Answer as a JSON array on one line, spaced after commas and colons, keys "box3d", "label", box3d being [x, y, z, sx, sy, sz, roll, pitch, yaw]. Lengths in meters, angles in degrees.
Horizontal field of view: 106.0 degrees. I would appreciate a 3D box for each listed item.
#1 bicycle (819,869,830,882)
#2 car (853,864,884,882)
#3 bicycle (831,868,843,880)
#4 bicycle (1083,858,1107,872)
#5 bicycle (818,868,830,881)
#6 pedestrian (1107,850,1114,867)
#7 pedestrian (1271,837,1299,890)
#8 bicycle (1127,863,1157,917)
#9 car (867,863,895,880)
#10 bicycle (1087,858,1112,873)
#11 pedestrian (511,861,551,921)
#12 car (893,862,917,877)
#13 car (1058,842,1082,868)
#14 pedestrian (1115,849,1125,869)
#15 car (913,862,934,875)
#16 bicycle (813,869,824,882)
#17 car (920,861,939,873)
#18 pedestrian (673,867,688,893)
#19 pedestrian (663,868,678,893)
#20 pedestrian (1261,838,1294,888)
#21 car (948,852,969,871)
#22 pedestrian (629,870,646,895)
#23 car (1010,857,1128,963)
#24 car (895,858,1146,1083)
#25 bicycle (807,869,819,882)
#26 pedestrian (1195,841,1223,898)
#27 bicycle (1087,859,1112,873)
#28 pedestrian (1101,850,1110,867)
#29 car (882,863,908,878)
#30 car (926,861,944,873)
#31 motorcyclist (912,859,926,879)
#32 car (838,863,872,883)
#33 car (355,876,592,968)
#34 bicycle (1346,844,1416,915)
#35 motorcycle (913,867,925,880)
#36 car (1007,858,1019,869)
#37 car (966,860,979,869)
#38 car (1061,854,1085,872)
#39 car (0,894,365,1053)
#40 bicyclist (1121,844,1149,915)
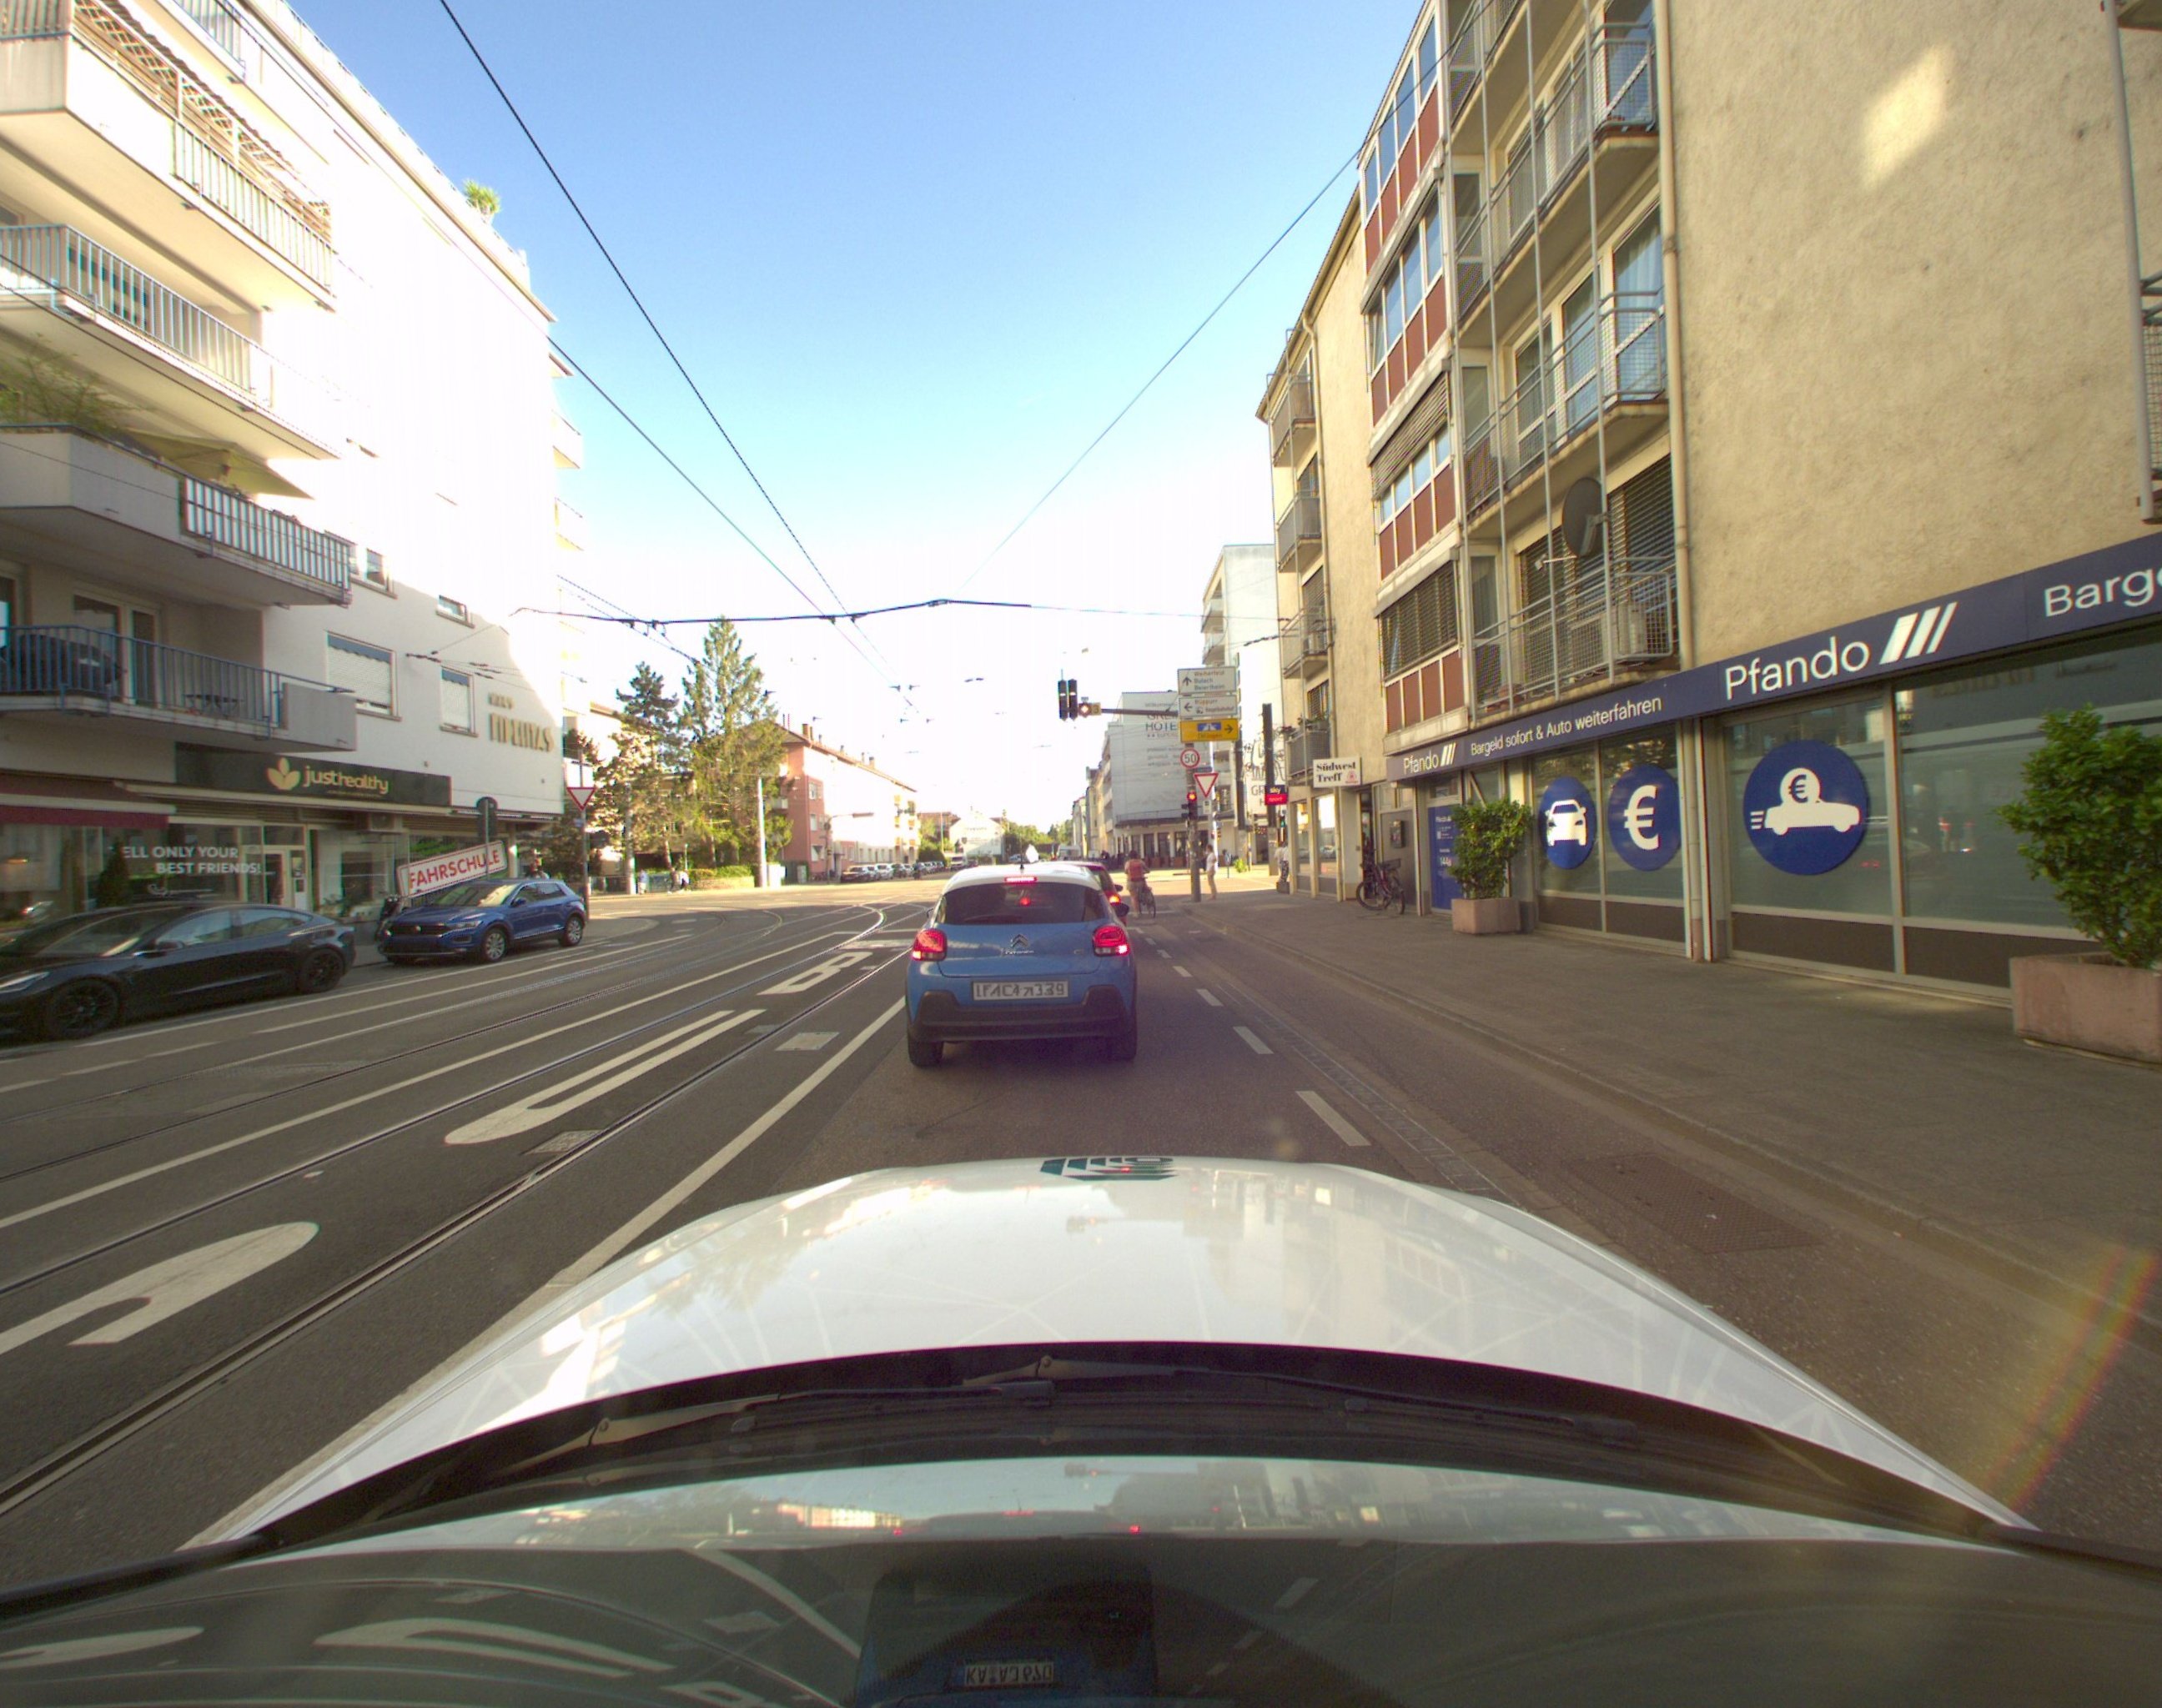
[{"box3d": [-21.595, 1.789, 68.476, 0.537, 1.082, 1.905, -2, 0, -9], "label": "bicycle"}, {"box3d": [-19.569, 1.712, 75.247, 1.947, 1.519, 4.040, -2, 0, -4], "label": "car"}, {"box3d": [-22.715, 1.855, 75.806, 0.608, 1.082, 1.908, -2, 0, -4], "label": "bicycle"}, {"box3d": [1.161, 0.947, 68.447, 1.901, 1.064, 0.641, -2, 0, -6], "label": "bicycle"}, {"box3d": [-23.048, 1.837, 73.110, 0.536, 1.082, 1.908, -2, 0, -4], "label": "bicycle"}, {"box3d": [2.525, 0.374, 70.121, 0.467, 1.420, 0.524, -2, 0, -11], "label": "pedestrian"}, {"box3d": [6.541, 0.303, 26.111, 0.731, 1.647, 0.757, -2, 0, 21], "label": "pedestrian"}, {"box3d": [1.533, 0.887, 20.730, 0.611, 1.264, 1.911, -2, 0, 2], "label": "bicycle"}, {"box3d": [-19.558, 1.678, 79.859, 1.947, 1.519, 3.995, -2, 0, -4], "label": "car"}, {"box3d": [1.517, 0.925, 65.938, 1.901, 1.064, 0.641, -2, 0, -6], "label": "bicycle"}, {"box3d": [-17.287, 1.170, 25.599, 0.761, 1.834, 0.725, -3, 0, 28], "label": "pedestrian"}, {"box3d": [-19.979, 1.782, 92.599, 1.947, 1.519, 3.995, -2, 0, -4], "label": "car"}, {"box3d": [-1.037, 0.080, 73.450, 2.074, 2.269, 5.647, -1, 0, -2], "label": "car"}, {"box3d": [3.360, 0.415, 70.225, 0.558, 1.647, 0.532, -2, 0, -42], "label": "pedestrian"}, {"box3d": [-20.095, 1.791, 104.042, 1.947, 1.519, 3.995, -2, 0, -4], "label": "car"}, {"box3d": [-21.973, 1.789, 68.191, 0.537, 1.082, 1.905, -2, 0, -9], "label": "bicycle"}, {"box3d": [-20.296, 1.763, 109.331, 1.947, 1.519, 3.995, -2, 0, -4], "label": "car"}, {"box3d": [-27.135, 1.737, 55.216, 0.812, 1.702, 0.602, -2, 0, -22], "label": "pedestrian"}, {"box3d": [-28.198, 1.799, 55.950, 0.812, 1.702, 0.629, -2, 0, -22], "label": "pedestrian"}, {"box3d": [6.645, 0.306, 27.584, 0.705, 1.647, 0.732, -2, 0, -34], "label": "pedestrian"}, {"box3d": [-18.124, 1.092, 120.579, 2.489, 2.712, 5.828, -2, 0, -5], "label": "car"}, {"box3d": [-30.547, 1.946, 56.071, 0.810, 1.702, 0.677, -2, 0, -15], "label": "pedestrian"}, {"box3d": [-0.226, 0.811, 13.711, 1.675, 1.462, 3.997, -1, 0, -2], "label": "car"}, {"box3d": [-0.452, 0.792, 7.502, 1.675, 1.462, 3.997, -1, 0, -2], "label": "car"}, {"box3d": [-22.379, 1.789, 68.081, 0.640, 1.082, 1.905, -2, 0, -9], "label": "bicycle"}, {"box3d": [3.839, 0.453, 24.418, 0.747, 1.635, 0.742, -2, 0, 7], "label": "pedestrian"}, {"box3d": [1.526, 0.955, 67.245, 1.901, 1.064, 0.641, -2, 0, -6], "label": "bicycle"}, {"box3d": [2.105, 0.390, 70.382, 0.520, 1.420, 0.550, -3, 0, 22], "label": "pedestrian"}, {"box3d": [-19.728, 1.732, 86.532, 1.947, 1.519, 3.995, -2, 0, -4], "label": "car"}, {"box3d": [-20.723, 1.841, 115.687, 1.947, 1.519, 3.995, -2, 0, -4], "label": "car"}, {"box3d": [-13.473, 1.264, 67.697, 0.990, 1.631, 0.737, -2, 0, -7], "label": "motorcyclist"}, {"box3d": [-19.289, 1.595, 69.623, 1.947, 1.519, 3.995, -2, 0, -4], "label": "car"}, {"box3d": [-11.878, 1.245, 16.329, 1.720, 1.505, 4.113, 0, 0, -2], "label": "car"}, {"box3d": [5.759, 0.457, 15.742, 0.637, 1.264, 1.911, -2, 0, 2], "label": "bicycle"}, {"box3d": [-13.483, 1.592, 67.764, 0.751, 0.976, 2.092, -2, 0, -7], "label": "motorcycle"}, {"box3d": [-14.263, 1.962, 171.414, 2.333, 2.039, 5.044, -2, 0, -4], "label": "car"}, {"box3d": [-19.335, 1.802, 145.248, 1.947, 1.519, 3.995, -2, 0, -4], "label": "car"}, {"box3d": [-0.714, 0.736, 67.989, 1.783, 1.359, 3.909, -2, 0, -4], "label": "car"}, {"box3d": [-11.984, 1.333, 10.425, 1.720, 1.403, 4.486, 0, 0, -2], "label": "car"}, {"box3d": [1.369, 0.633, 20.696, 0.598, 1.746, 1.084, -2, 0, 2], "label": "bicyclist"}]
